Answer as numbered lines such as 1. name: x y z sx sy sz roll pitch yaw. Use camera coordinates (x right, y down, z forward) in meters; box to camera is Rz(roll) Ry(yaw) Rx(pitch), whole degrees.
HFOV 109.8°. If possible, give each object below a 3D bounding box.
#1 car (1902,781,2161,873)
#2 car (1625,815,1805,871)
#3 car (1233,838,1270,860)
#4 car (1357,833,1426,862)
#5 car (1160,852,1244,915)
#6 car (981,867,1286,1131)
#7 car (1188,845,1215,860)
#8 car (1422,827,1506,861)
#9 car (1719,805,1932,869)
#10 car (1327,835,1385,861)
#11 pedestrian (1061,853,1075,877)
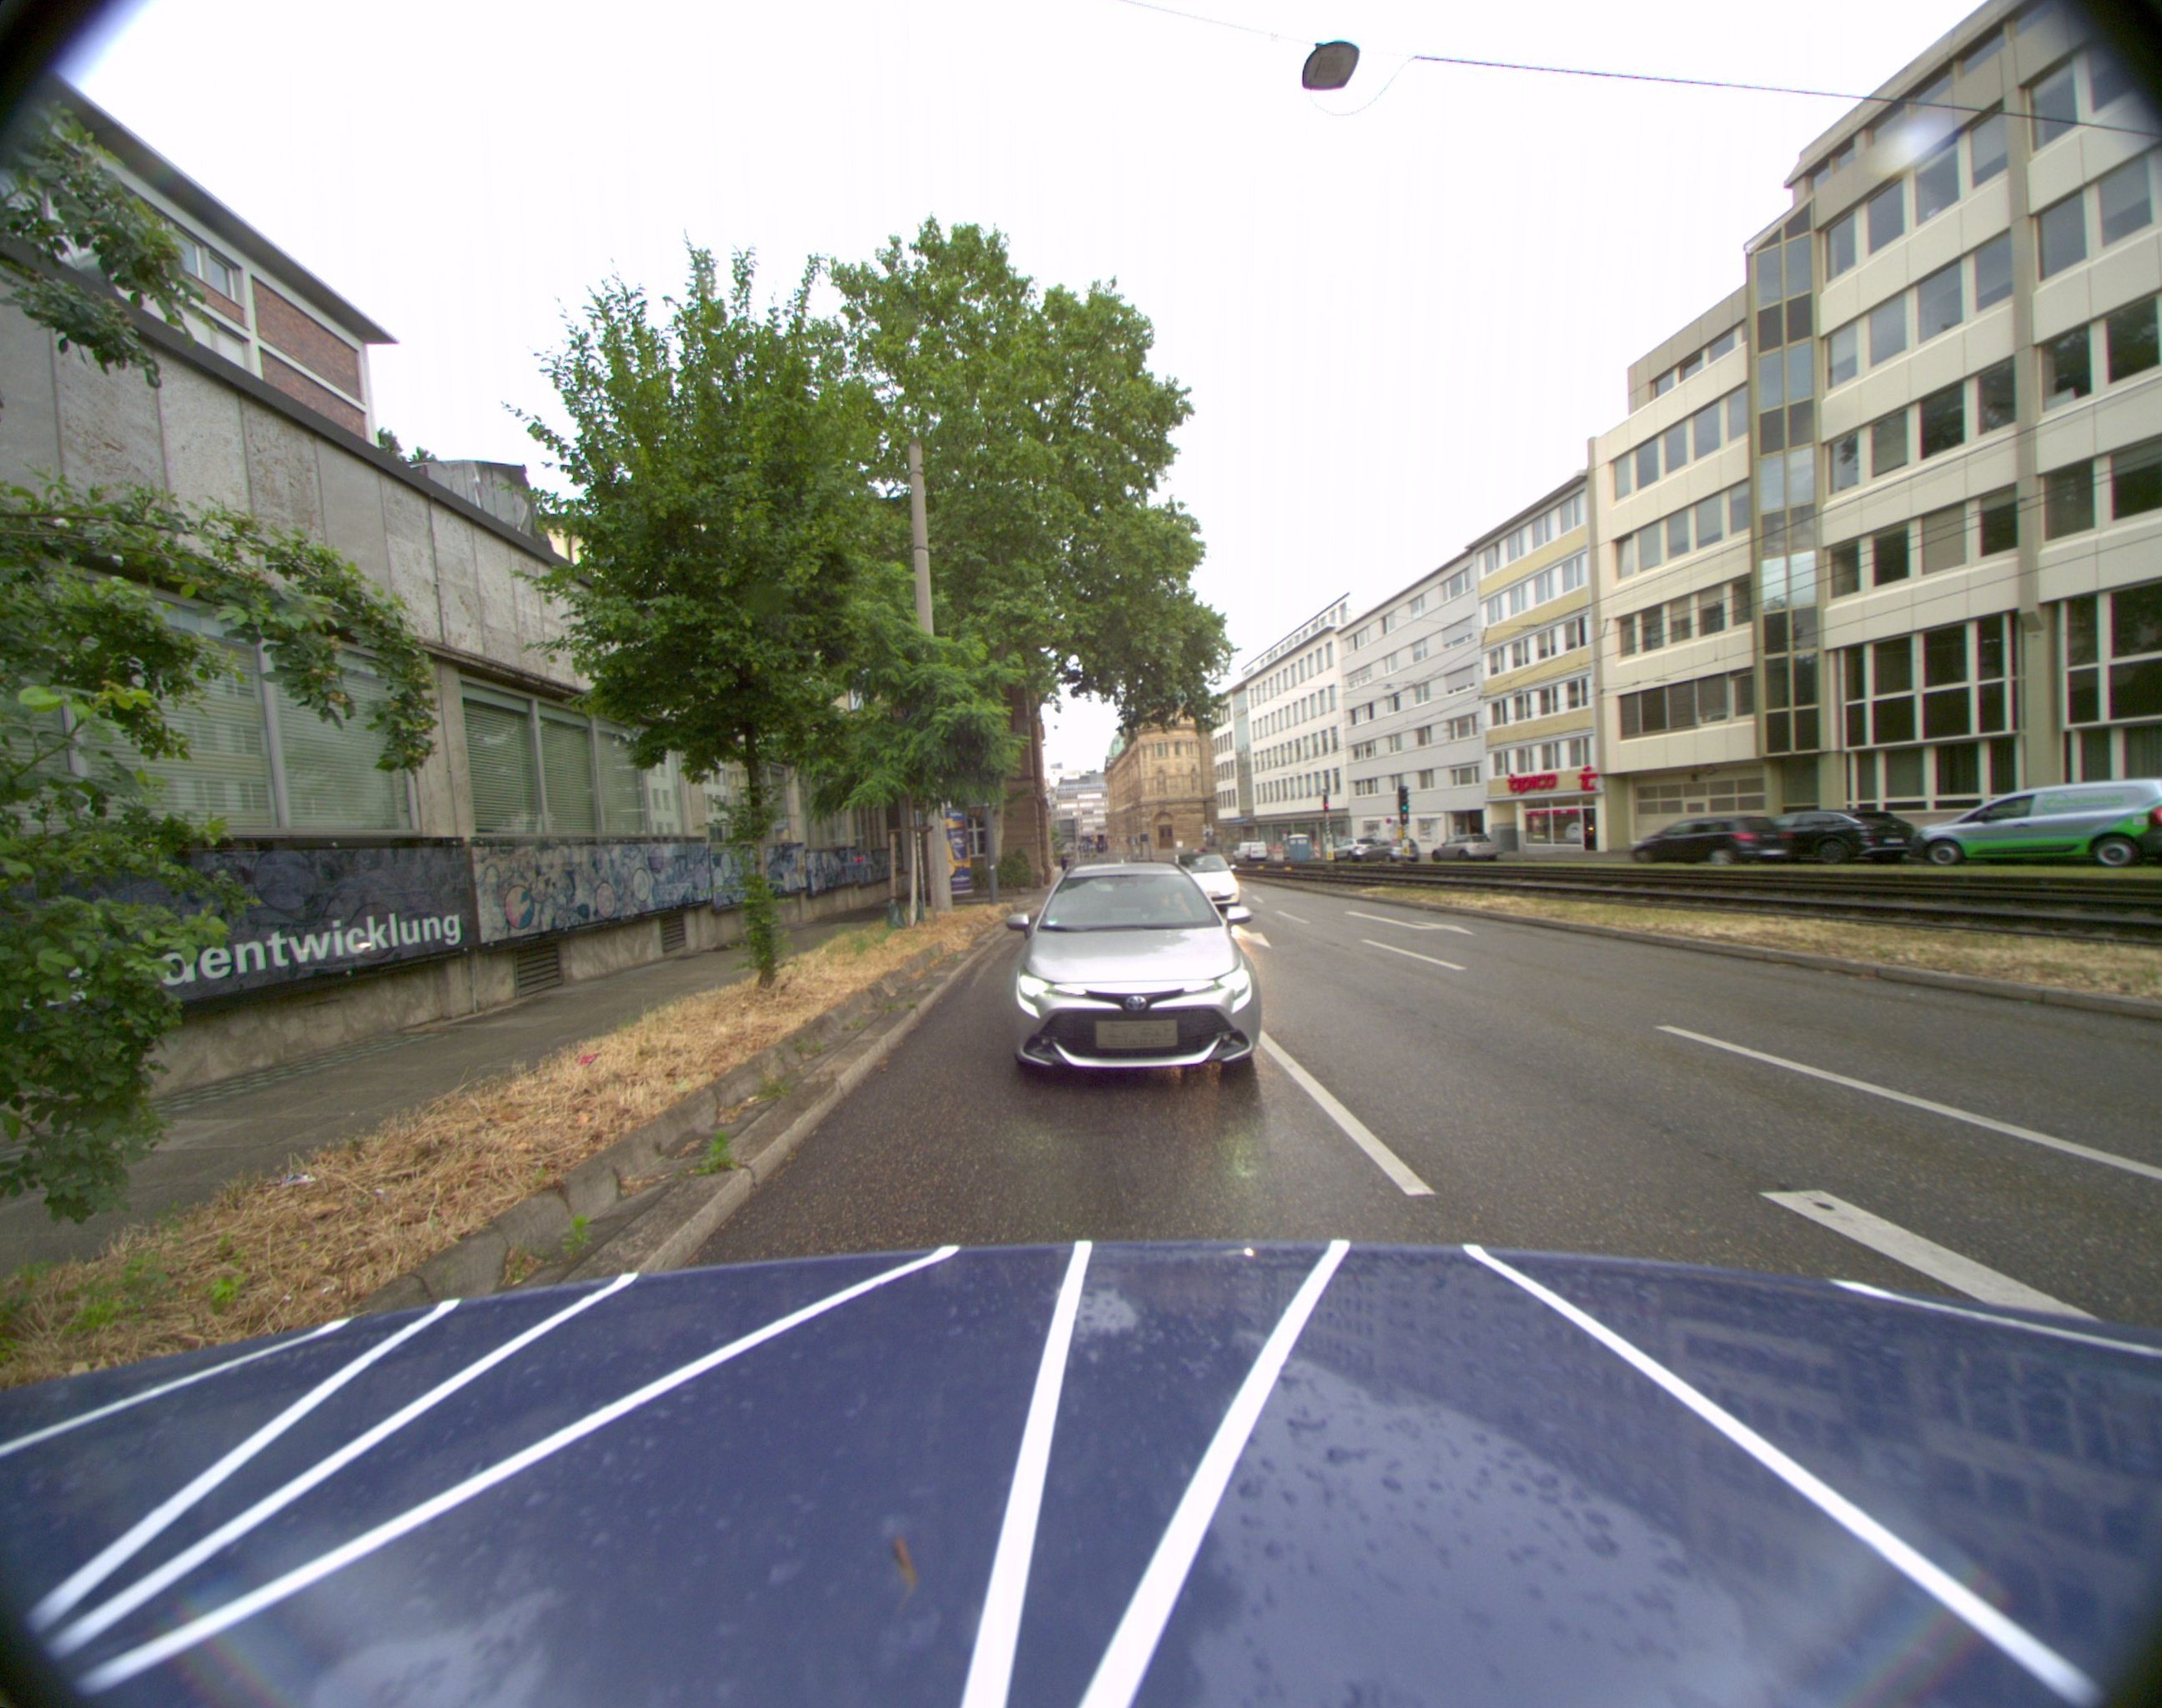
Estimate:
1. car: 21.504 -0.578 16.798 1.801 1.736 4.213 -5 1 -8
2. car: 17.975 -0.287 21.806 1.632 1.349 3.869 -4 1 -6
3. car: 16.317 -0.505 72.941 1.890 1.924 4.474 -5 1 -7
4. car: 16.412 -0.333 40.376 1.632 1.349 3.869 -4 1 -6
5. car: 3.097 0.718 20.027 1.654 1.426 3.439 -2 1 0
6. car: 0.340 0.924 6.787 1.811 1.426 4.297 -2 1 0
7. car: 14.548 -0.220 92.101 1.890 1.615 4.474 -5 1 -7
8. car: 19.487 -0.495 38.895 1.801 1.505 4.075 -5 1 -7
9. car: 21.065 -0.463 21.760 1.801 1.505 4.075 -5 1 -7
10. car: 18.162 -0.420 50.439 1.890 1.505 4.075 -5 1 -7
11. pedestrian: -0.926 0.778 53.718 0.719 1.630 0.760 -5 2 10
